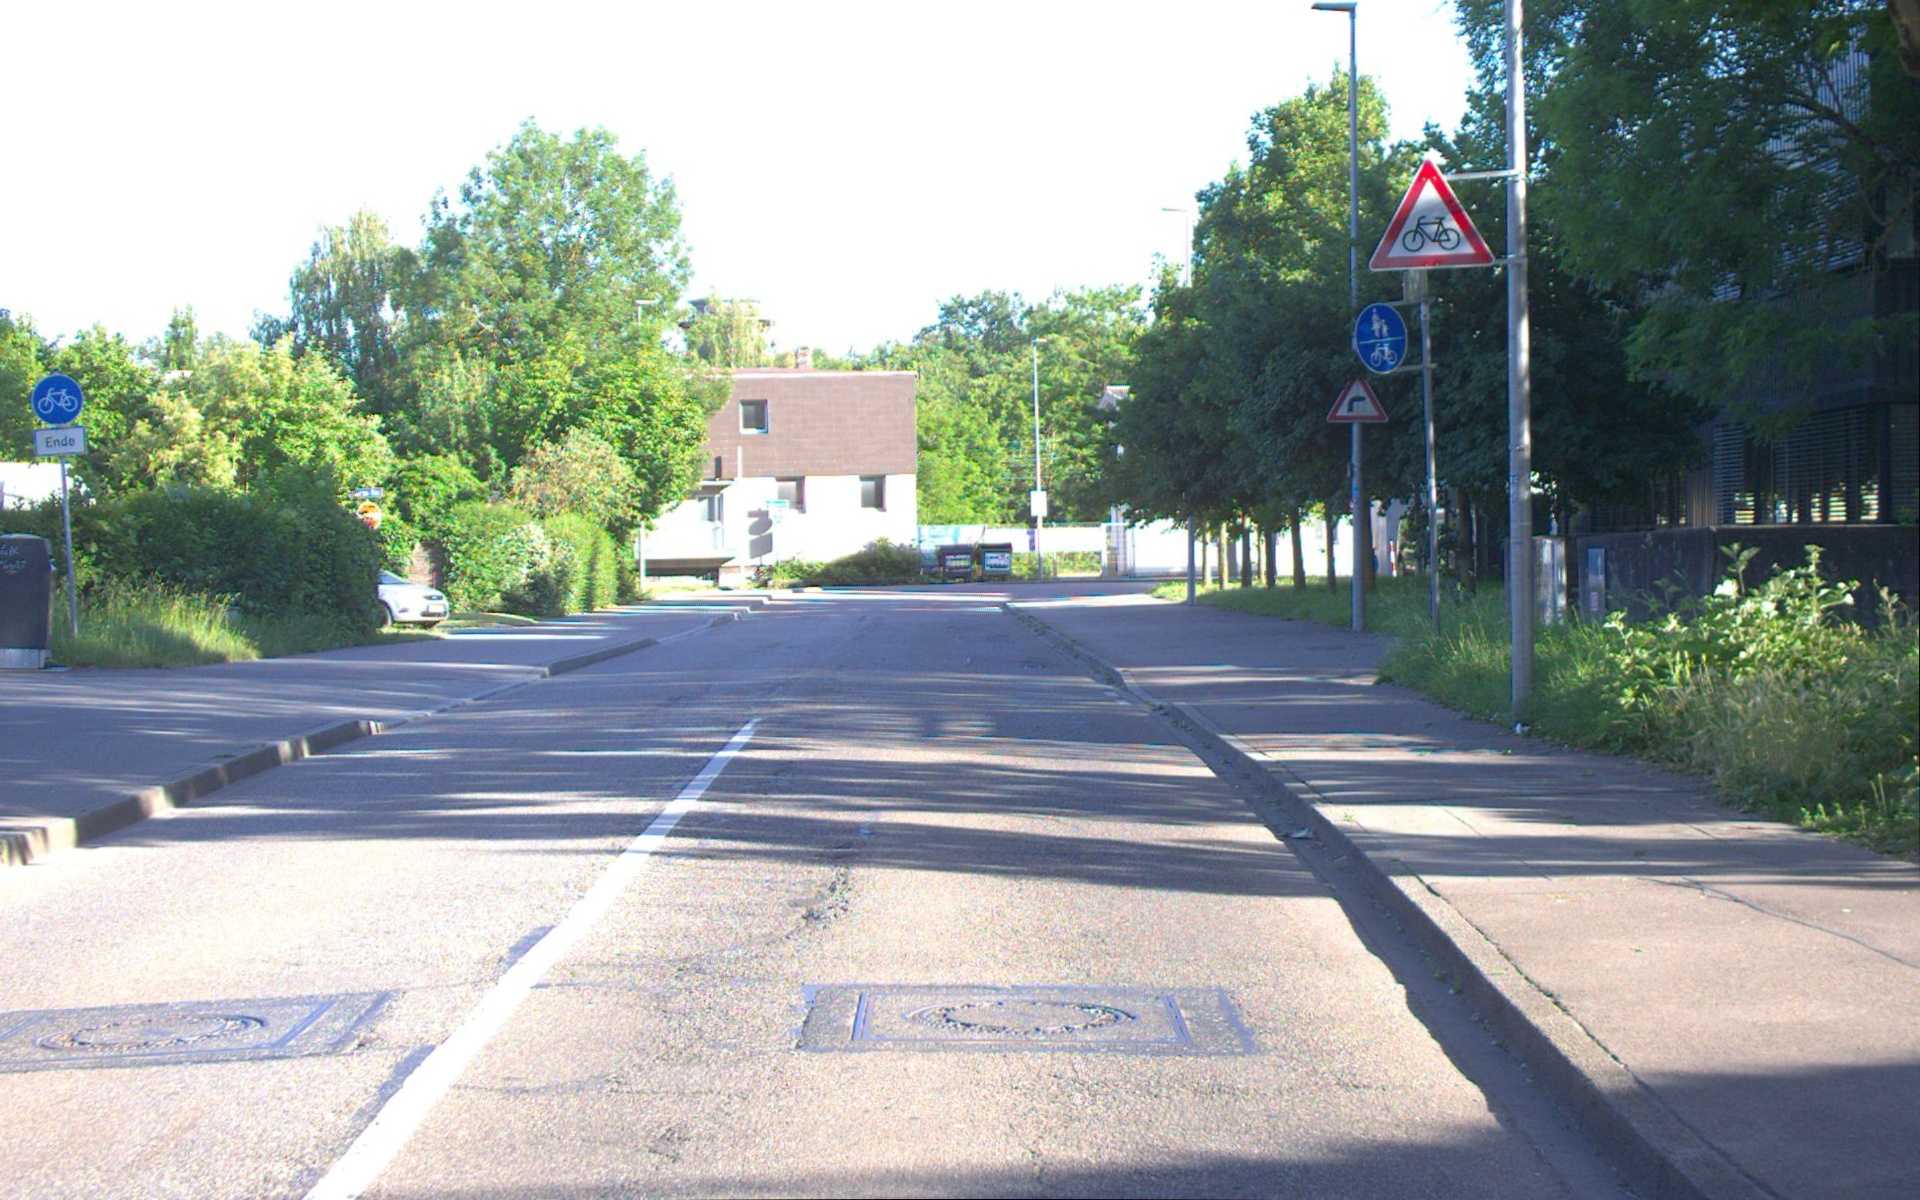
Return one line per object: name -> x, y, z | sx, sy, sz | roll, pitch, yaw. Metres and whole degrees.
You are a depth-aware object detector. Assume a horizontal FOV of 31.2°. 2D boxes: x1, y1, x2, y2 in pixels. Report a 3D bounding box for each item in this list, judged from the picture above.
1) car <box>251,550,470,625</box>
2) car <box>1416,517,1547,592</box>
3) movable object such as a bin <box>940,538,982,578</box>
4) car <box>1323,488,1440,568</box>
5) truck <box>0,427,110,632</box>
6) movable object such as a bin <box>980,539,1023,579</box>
car -> -12.576, -0.265, 72.091 | 4.216, 1.485, 1.874 | 1, 0, 26
car -> 10.683, -0.919, 70.648 | 1.835, 1.461, 4.279 | 1, 0, -3
movable object such as a bin -> 0.040, -1.504, 123.258 | 1.364, 1.413, 1.066 | 1, 0, -7
car -> 10.134, -1.701, 82.949 | 1.835, 1.808, 4.667 | 1, 0, -5
truck -> -21.356, -1.276, 68.337 | 9.319, 3.870, 2.707 | -1, -1, 29
movable object such as a bin -> 1.483, -1.483, 123.481 | 1.364, 1.413, 1.066 | 1, 0, -7
